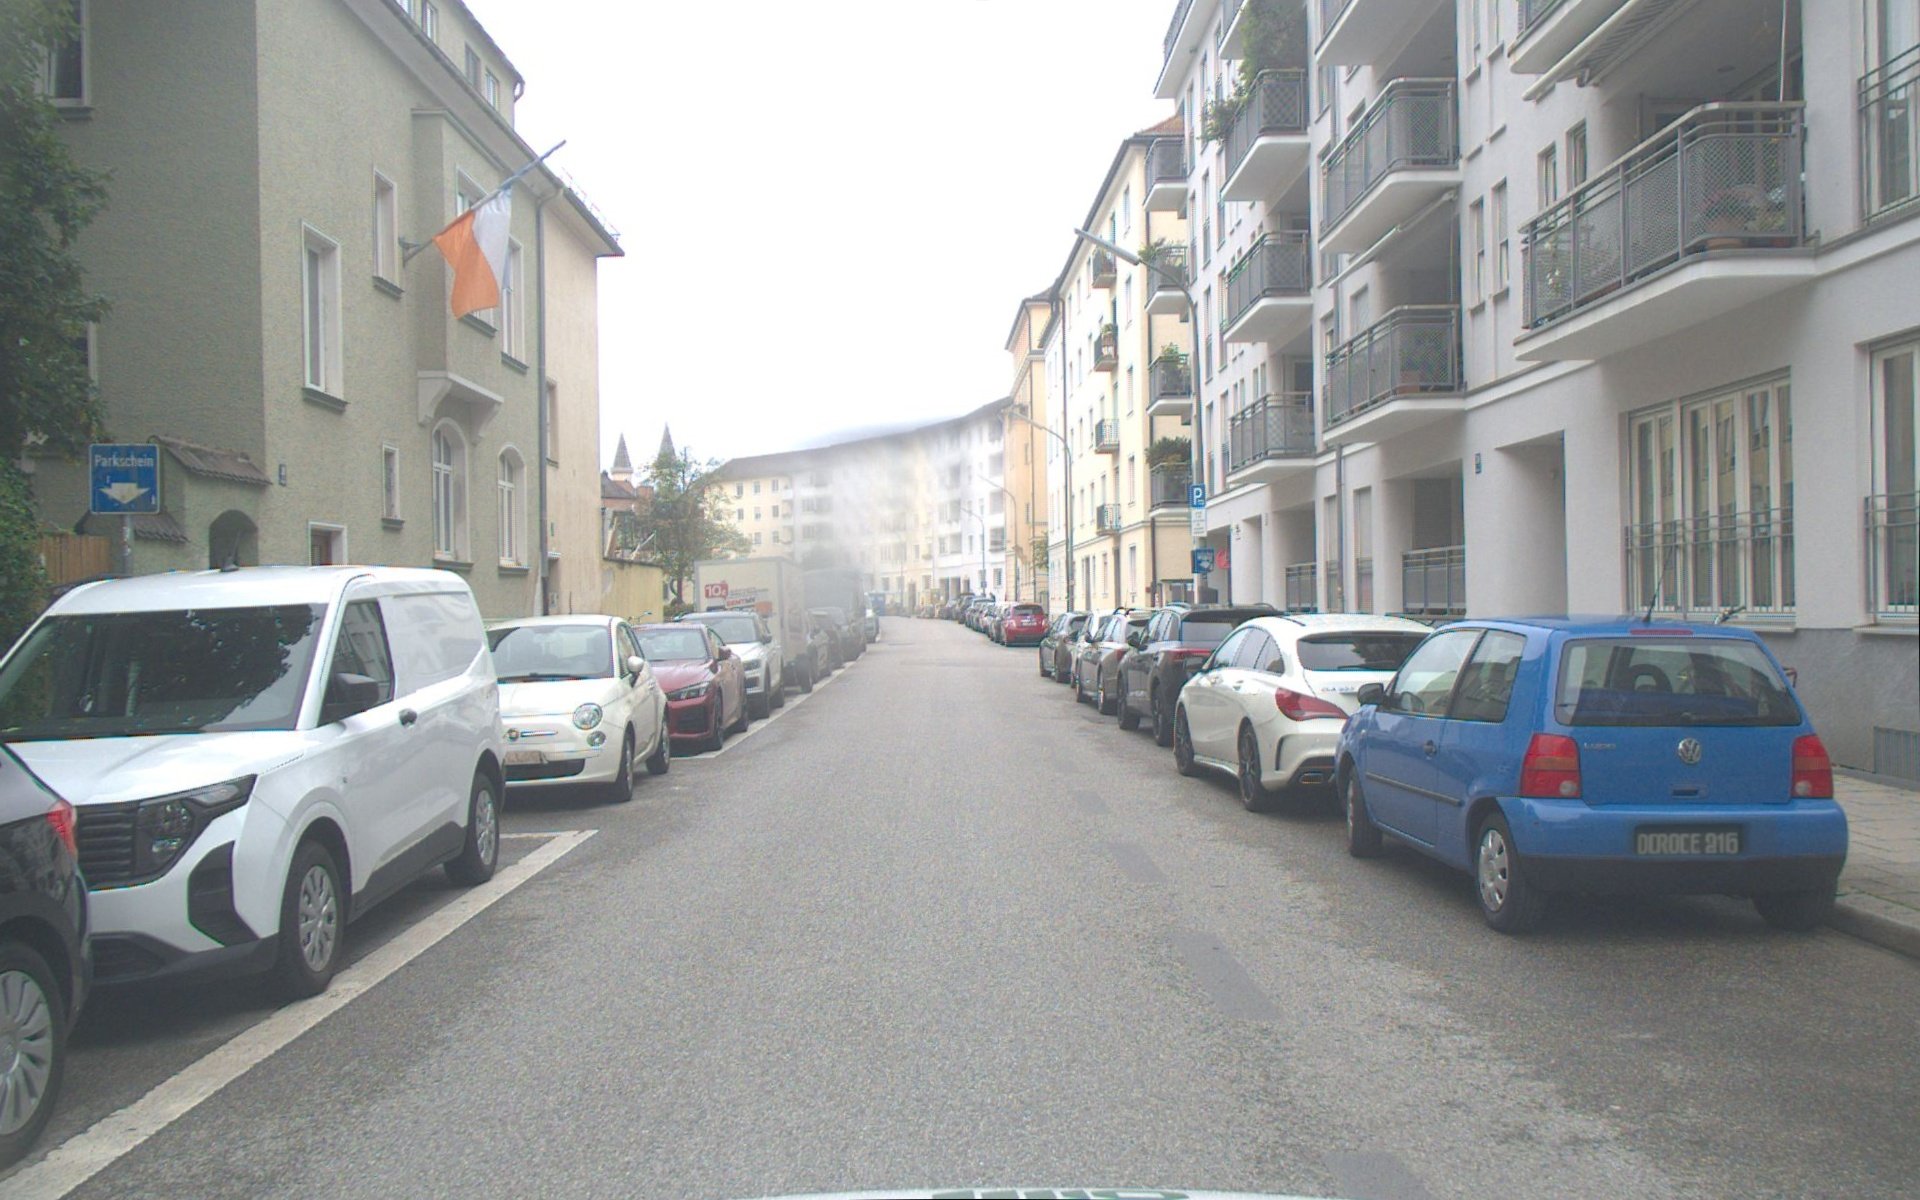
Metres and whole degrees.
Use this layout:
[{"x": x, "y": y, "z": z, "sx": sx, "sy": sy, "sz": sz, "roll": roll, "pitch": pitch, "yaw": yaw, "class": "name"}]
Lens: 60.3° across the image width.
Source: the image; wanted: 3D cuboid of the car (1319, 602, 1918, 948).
[{"x": 3.233, "y": 0.755, "z": 8.955, "sx": 1.680, "sy": 1.448, "sz": 3.718, "roll": 0, "pitch": 0, "yaw": -2, "class": "car"}]

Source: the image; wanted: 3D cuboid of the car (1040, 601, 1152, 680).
[{"x": 2.783, "y": 0.800, "z": 34.727, "sx": 1.736, "sy": 1.501, "sz": 4.215, "roll": -1, "pitch": 0, "yaw": -4, "class": "car"}]

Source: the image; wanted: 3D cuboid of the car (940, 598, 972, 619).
[{"x": -0.319, "y": 0.585, "z": 121.319, "sx": 1.871, "sy": 1.503, "sz": 4.940, "roll": 0, "pitch": 0, "yaw": -6, "class": "car"}]

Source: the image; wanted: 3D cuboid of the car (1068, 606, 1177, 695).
[{"x": 2.948, "y": 0.883, "z": 30.610, "sx": 1.584, "sy": 1.493, "sz": 3.746, "roll": 0, "pitch": 0, "yaw": -1, "class": "car"}]

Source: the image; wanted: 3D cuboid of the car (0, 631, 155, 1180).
[{"x": -3.396, "y": 0.869, "z": 3.201, "sx": 1.680, "sy": 1.445, "sz": 4.165, "roll": -2, "pitch": 0, "yaw": -2, "class": "car"}]

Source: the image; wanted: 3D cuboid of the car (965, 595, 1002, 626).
[{"x": 1.320, "y": 0.593, "z": 94.425, "sx": 1.810, "sy": 1.692, "sz": 4.495, "roll": 0, "pitch": 0, "yaw": -3, "class": "car"}]

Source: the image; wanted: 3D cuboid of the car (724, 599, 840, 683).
[{"x": -3.776, "y": 0.830, "z": 35.885, "sx": 1.825, "sy": 1.568, "sz": 5.092, "roll": -3, "pitch": 0, "yaw": 1, "class": "car"}]

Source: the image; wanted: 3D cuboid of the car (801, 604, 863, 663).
[{"x": -3.671, "y": 0.929, "z": 47.394, "sx": 1.620, "sy": 1.523, "sz": 3.905, "roll": -3, "pitch": 0, "yaw": -5, "class": "car"}]

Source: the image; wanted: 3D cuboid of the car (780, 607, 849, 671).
[{"x": -3.727, "y": 0.975, "z": 42.791, "sx": 1.642, "sy": 1.461, "sz": 4.283, "roll": -3, "pitch": 0, "yaw": -4, "class": "car"}]

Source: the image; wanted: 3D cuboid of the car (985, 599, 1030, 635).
[{"x": 2.114, "y": 0.737, "z": 74.524, "sx": 1.618, "sy": 1.570, "sz": 3.990, "roll": 0, "pitch": 0, "yaw": -4, "class": "car"}]

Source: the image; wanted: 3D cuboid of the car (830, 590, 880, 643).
[{"x": -4.198, "y": 0.602, "z": 65.498, "sx": 1.877, "sy": 1.994, "sz": 4.956, "roll": -1, "pitch": 0, "yaw": -5, "class": "car"}]

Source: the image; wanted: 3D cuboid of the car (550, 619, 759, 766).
[{"x": -3.457, "y": 0.989, "z": 19.484, "sx": 1.710, "sy": 1.392, "sz": 4.401, "roll": -2, "pitch": 0, "yaw": -2, "class": "car"}]

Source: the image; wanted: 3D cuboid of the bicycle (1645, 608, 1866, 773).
[{"x": 6.263, "y": 0.667, "z": 13.165, "sx": 0.785, "sy": 1.192, "sz": 1.973, "roll": -1, "pitch": 0, "yaw": -1, "class": "bicycle"}]

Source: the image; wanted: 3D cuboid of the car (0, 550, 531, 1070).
[{"x": -3.423, "y": 0.737, "z": 7.913, "sx": 1.680, "sy": 1.786, "sz": 4.249, "roll": -2, "pitch": 0, "yaw": -2, "class": "car"}]

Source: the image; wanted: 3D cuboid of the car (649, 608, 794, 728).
[{"x": -3.519, "y": 0.957, "z": 25.052, "sx": 1.645, "sy": 1.557, "sz": 4.106, "roll": -2, "pitch": 0, "yaw": -2, "class": "car"}]

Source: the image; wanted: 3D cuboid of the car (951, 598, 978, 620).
[{"x": 0.291, "y": 0.613, "z": 115.073, "sx": 1.599, "sy": 1.442, "sz": 3.676, "roll": 0, "pitch": 0, "yaw": -5, "class": "car"}]

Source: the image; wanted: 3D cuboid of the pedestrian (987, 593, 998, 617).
[{"x": 2.372, "y": 0.362, "z": 119.747, "sx": 0.605, "sy": 1.719, "sz": 0.919, "roll": -4, "pitch": 0, "yaw": -2, "class": "pedestrian"}]

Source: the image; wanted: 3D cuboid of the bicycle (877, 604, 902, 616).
[{"x": -6.876, "y": 0.996, "z": 161.463, "sx": 2.205, "sy": 1.088, "sz": 0.912, "roll": -1, "pitch": 0, "yaw": -27, "class": "bicycle"}]

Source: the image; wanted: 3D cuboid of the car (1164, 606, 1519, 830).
[{"x": 2.858, "y": 0.805, "z": 13.380, "sx": 1.631, "sy": 1.493, "sz": 4.373, "roll": 0, "pitch": 0, "yaw": -3, "class": "car"}]

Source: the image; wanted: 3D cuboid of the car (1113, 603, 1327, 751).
[{"x": 2.948, "y": 0.821, "z": 19.582, "sx": 1.800, "sy": 1.559, "sz": 4.020, "roll": 0, "pitch": 0, "yaw": -2, "class": "car"}]

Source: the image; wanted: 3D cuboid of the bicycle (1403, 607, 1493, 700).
[{"x": 6.400, "y": 0.675, "z": 21.793, "sx": 0.557, "sy": 1.117, "sz": 1.810, "roll": -4, "pitch": 0, "yaw": -1, "class": "bicycle"}]

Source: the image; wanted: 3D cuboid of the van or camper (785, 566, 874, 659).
[{"x": -4.064, "y": 0.363, "z": 52.418, "sx": 2.246, "sy": 2.697, "sz": 5.561, "roll": -3, "pitch": 0, "yaw": 0, "class": "van or camper"}]

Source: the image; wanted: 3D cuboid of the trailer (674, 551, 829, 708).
[{"x": -3.700, "y": 0.500, "z": 30.189, "sx": 1.935, "sy": 2.514, "sz": 4.578, "roll": -4, "pitch": 0, "yaw": 2, "class": "trailer"}]

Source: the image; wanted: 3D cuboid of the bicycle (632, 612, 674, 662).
[{"x": -8.062, "y": 0.962, "z": 43.548, "sx": 0.786, "sy": 1.255, "sz": 1.867, "roll": -1, "pitch": -1, "yaw": -2, "class": "bicycle"}]

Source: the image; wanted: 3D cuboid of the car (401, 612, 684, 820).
[{"x": -3.444, "y": 0.887, "z": 14.257, "sx": 1.594, "sy": 1.493, "sz": 3.519, "roll": -2, "pitch": 0, "yaw": -2, "class": "car"}]

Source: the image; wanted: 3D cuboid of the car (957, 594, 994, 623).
[{"x": 0.970, "y": 0.513, "z": 104.886, "sx": 2.126, "sy": 1.769, "sz": 5.022, "roll": 0, "pitch": 0, "yaw": -2, "class": "car"}]

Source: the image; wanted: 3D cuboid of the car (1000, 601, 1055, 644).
[{"x": 2.374, "y": 0.787, "z": 59.050, "sx": 1.621, "sy": 1.455, "sz": 3.754, "roll": 0, "pitch": 0, "yaw": -3, "class": "car"}]

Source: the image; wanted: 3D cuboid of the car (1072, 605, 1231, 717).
[{"x": 2.795, "y": 0.848, "z": 25.105, "sx": 1.755, "sy": 1.508, "sz": 4.602, "roll": -1, "pitch": 0, "yaw": -2, "class": "car"}]
